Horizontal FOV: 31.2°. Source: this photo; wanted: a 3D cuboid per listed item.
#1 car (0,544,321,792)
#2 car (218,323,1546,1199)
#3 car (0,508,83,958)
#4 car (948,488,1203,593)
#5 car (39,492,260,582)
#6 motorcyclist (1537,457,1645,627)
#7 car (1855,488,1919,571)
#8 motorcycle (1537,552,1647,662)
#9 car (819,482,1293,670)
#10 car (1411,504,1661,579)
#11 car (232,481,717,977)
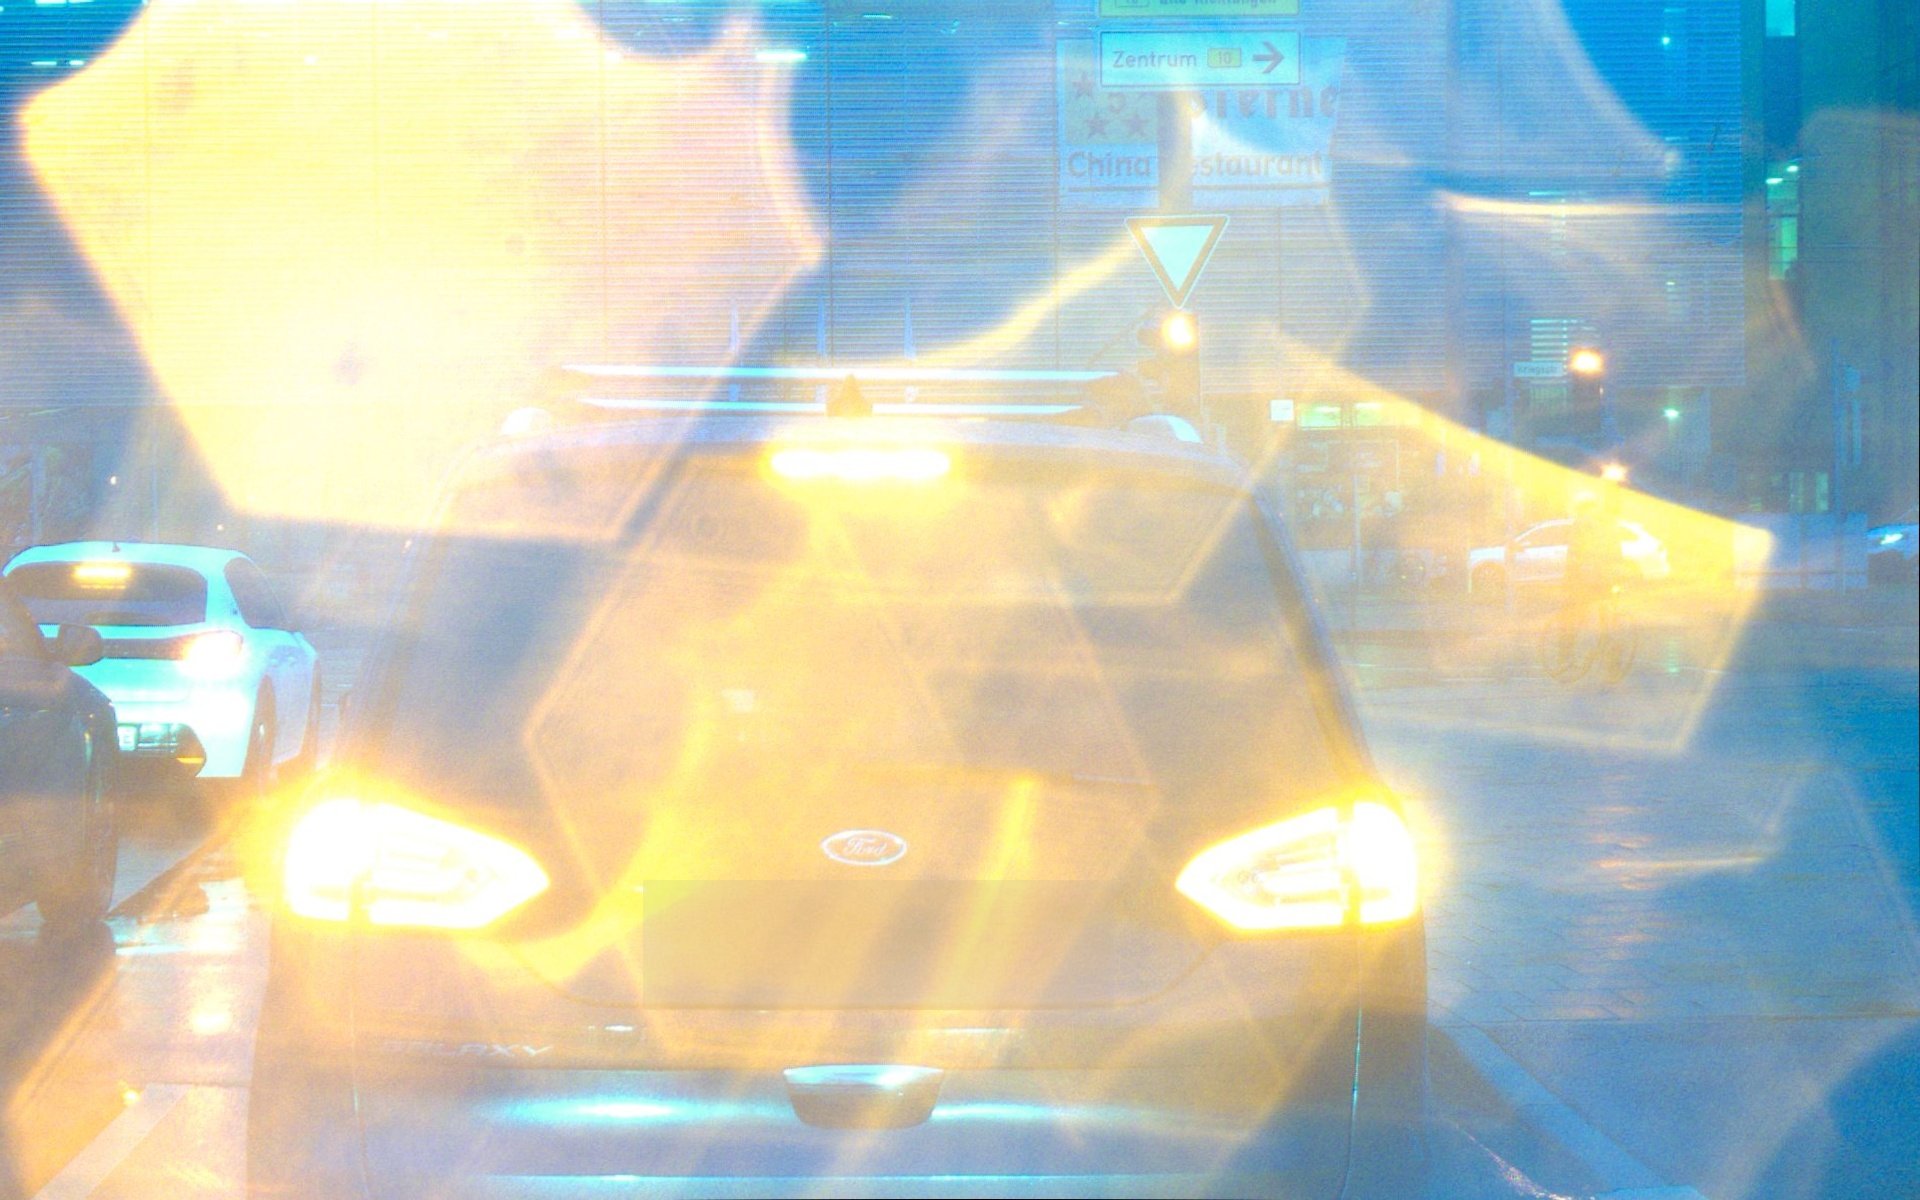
[{"bbox_3d":[-4.503,0.311,19.505,1.540,1.247,4.069,0,1,-8],"label":"car"},{"bbox_3d":[-0.211,0.478,6.709,1.735,1.732,4.247,2,1,-3],"label":"car"},{"bbox_3d":[-4.196,0.477,11.542,1.752,1.568,4.001,-1,1,-4],"label":"car"},{"bbox_3d":[2.272,-1.189,68.443,4.838,1.993,1.800,-1,1,-7],"label":"car"},{"bbox_3d":[-15.912,-1.248,67.632,3.986,1.612,1.738,2,1,-5],"label":"car"},{"bbox_3d":[5.804,-0.538,31.658,0.868,1.529,1.108,0,1,5],"label":"motorcyclist"},{"bbox_3d":[19.873,-1.394,66.827,4.418,1.589,1.800,-1,1,-7],"label":"car"},{"bbox_3d":[5.804,0.055,31.653,0.853,0.968,1.581,0,1,5],"label":"motorcycle"},{"bbox_3d":[0.968,-0.260,35.957,4.667,1.844,1.832,-1,0,-9],"label":"car"},{"bbox_3d":[11.106,-1.135,66.437,4.418,1.385,1.800,-1,1,-7],"label":"car"},{"bbox_3d":[-1.819,0.419,13.627,1.636,1.691,3.671,0,1,-5],"label":"car"}]
